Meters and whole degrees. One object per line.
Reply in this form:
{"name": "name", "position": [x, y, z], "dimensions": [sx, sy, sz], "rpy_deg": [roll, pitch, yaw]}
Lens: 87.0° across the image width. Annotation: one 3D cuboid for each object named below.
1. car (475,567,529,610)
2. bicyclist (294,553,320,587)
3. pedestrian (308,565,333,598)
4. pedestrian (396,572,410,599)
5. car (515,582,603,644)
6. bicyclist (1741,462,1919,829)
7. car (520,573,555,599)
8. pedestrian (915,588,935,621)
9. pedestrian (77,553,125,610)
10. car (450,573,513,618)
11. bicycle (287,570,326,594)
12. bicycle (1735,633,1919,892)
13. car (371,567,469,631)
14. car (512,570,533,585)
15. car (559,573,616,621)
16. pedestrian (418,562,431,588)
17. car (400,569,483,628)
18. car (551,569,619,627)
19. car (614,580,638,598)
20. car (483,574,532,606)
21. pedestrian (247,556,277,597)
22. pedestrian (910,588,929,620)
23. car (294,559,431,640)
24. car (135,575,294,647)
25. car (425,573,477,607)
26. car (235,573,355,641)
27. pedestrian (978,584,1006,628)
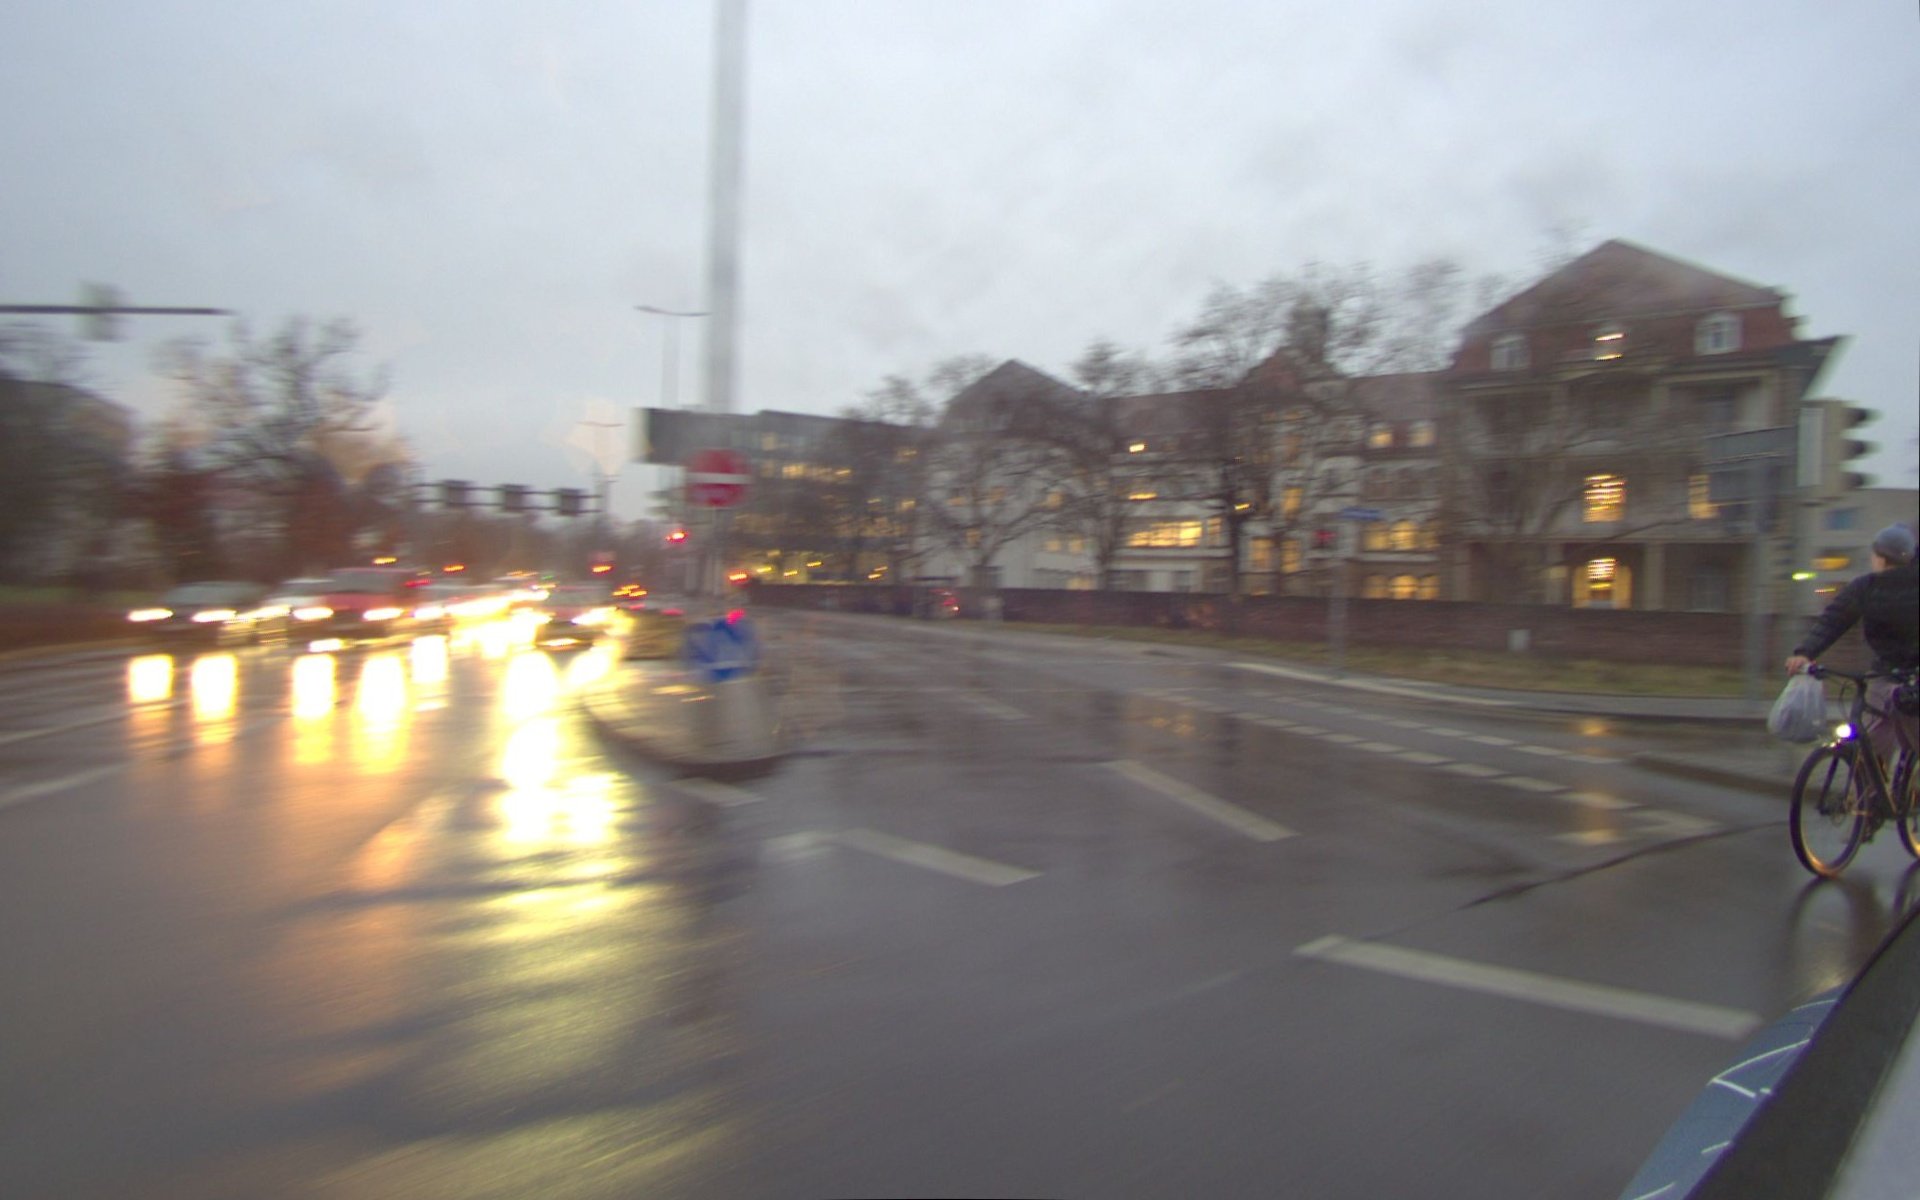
{"name": "car", "position": [-22.573, -0.569, 50.054], "dimensions": [1.958, 1.948, 4.277], "rpy_deg": [2, 0, -19]}
{"name": "bicyclist", "position": [-29.922, -1.375, 46.396], "dimensions": [0.751, 1.508, 0.997], "rpy_deg": [2, 1, -19]}
{"name": "pedestrian", "position": [-36.202, -1.053, 57.300], "dimensions": [0.913, 1.848, 0.836], "rpy_deg": [3, 0, -19]}
{"name": "pedestrian", "position": [-42.795, -1.103, 77.747], "dimensions": [0.750, 2.039, 0.775], "rpy_deg": [2, 0, -20]}
{"name": "car", "position": [-10.281, 0.283, 26.230], "dimensions": [1.891, 1.393, 4.509], "rpy_deg": [1, 1, -19]}
{"name": "bicyclist", "position": [5.405, 0.235, 5.800], "dimensions": [1.210, 1.907, 1.029], "rpy_deg": [1, 0, -26]}
{"name": "car", "position": [-30.570, -1.015, 73.303], "dimensions": [1.958, 1.720, 4.536], "rpy_deg": [2, 0, -19]}
{"name": "pedestrian", "position": [-2.064, 0.271, 59.317], "dimensions": [0.791, 1.853, 0.950], "rpy_deg": [3, 0, -23]}
{"name": "pedestrian", "position": [-28.722, -0.608, 33.870], "dimensions": [0.913, 1.848, 0.836], "rpy_deg": [3, 0, -19]}
{"name": "car", "position": [-20.664, -0.210, 43.844], "dimensions": [1.958, 1.794, 4.009], "rpy_deg": [2, 0, -19]}
{"name": "bicycle", "position": [-29.950, -0.845, 46.449], "dimensions": [0.778, 1.028, 2.910], "rpy_deg": [3, 1, -18]}
{"name": "bicycle", "position": [5.408, 0.830, 5.787], "dimensions": [1.865, 1.238, 0.796], "rpy_deg": [0, 0, -26]}
{"name": "car", "position": [-16.801, -0.074, 31.709], "dimensions": [1.958, 1.771, 4.481], "rpy_deg": [3, 1, -19]}
{"name": "car", "position": [-56.538, -2.932, 130.798], "dimensions": [2.097, 1.838, 4.009], "rpy_deg": [3, 1, -20]}
{"name": "car", "position": [-14.618, -0.156, 39.844], "dimensions": [1.958, 1.771, 4.481], "rpy_deg": [1, 1, -19]}
{"name": "pedestrian", "position": [-38.982, -1.810, 73.718], "dimensions": [0.610, 1.823, 0.939], "rpy_deg": [2, 0, -17]}
{"name": "car", "position": [-18.550, -0.069, 36.383], "dimensions": [1.958, 1.928, 4.009], "rpy_deg": [2, 0, -18]}
{"name": "car", "position": [-12.573, -0.107, 34.086], "dimensions": [1.958, 1.771, 4.481], "rpy_deg": [2, 1, -19]}
{"name": "car", "position": [-29.615, -0.979, 89.716], "dimensions": [1.958, 1.587, 4.480], "rpy_deg": [0, 0, -18]}
{"name": "car", "position": [-24.983, -0.602, 55.984], "dimensions": [1.958, 1.587, 4.773], "rpy_deg": [4, 0, -19]}
{"name": "pedestrian", "position": [-33.028, -1.108, 47.874], "dimensions": [0.913, 1.848, 0.836], "rpy_deg": [3, 0, -19]}
{"name": "pedestrian", "position": [-2.446, 0.224, 60.688], "dimensions": [0.791, 1.853, 0.950], "rpy_deg": [3, 0, -23]}
{"name": "car", "position": [-14.941, -0.053, 25.590], "dimensions": [1.958, 1.771, 4.957], "rpy_deg": [3, 1, -19]}
{"name": "car", "position": [-17.599, 0.195, 24.140], "dimensions": [1.737, 1.505, 4.481], "rpy_deg": [3, 1, -19]}
{"name": "car", "position": [-27.859, -0.587, 55.499], "dimensions": [1.958, 1.688, 4.009], "rpy_deg": [3, 0, -19]}
{"name": "car", "position": [-20.010, 0.184, 30.659], "dimensions": [1.958, 1.861, 4.009], "rpy_deg": [2, 0, -17]}
{"name": "pedestrian", "position": [1.388, 0.264, 43.812], "dimensions": [0.791, 1.853, 0.950], "rpy_deg": [3, 0, -23]}
